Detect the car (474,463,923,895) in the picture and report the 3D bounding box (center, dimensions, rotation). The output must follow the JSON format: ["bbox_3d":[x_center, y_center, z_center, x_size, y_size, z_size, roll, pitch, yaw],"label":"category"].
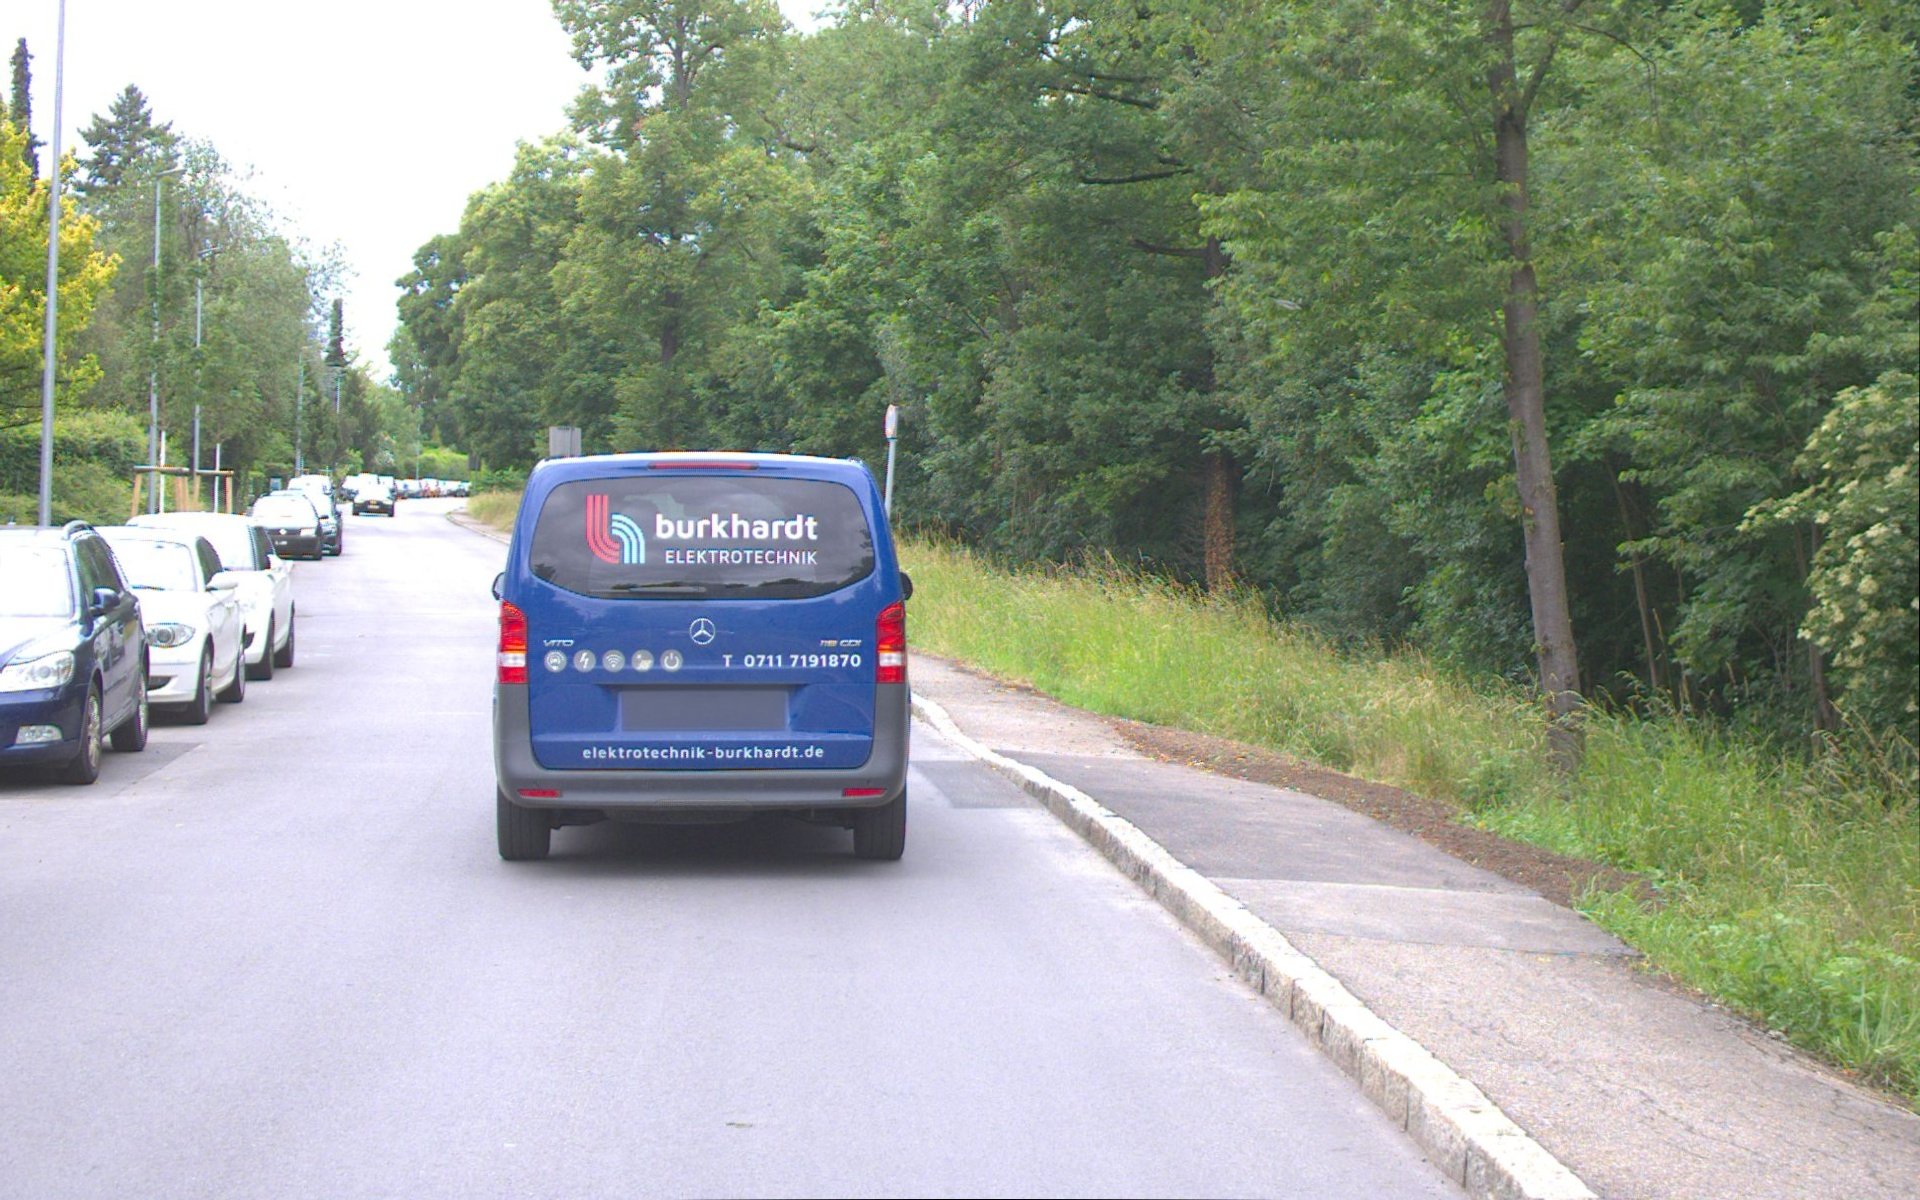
[{"bbox_3d":[-1.341,0.249,16.837,1.913,1.831,4.295,0,2,-6],"label":"car"}]

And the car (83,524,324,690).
[{"bbox_3d":[-7.054,0.020,32.368,1.607,1.403,3.857,1,2,-3],"label":"car"}]

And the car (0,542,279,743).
[{"bbox_3d":[-6.273,0.269,26.214,1.607,1.338,3.857,1,2,-3],"label":"car"}]

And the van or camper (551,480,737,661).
[{"bbox_3d":[-3.770,-0.409,40.429,2.019,1.950,4.898,-1,2,-7],"label":"van or camper"}]

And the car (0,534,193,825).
[{"bbox_3d":[-5.732,0.395,20.578,1.607,1.508,3.857,1,2,-3],"label":"car"}]
